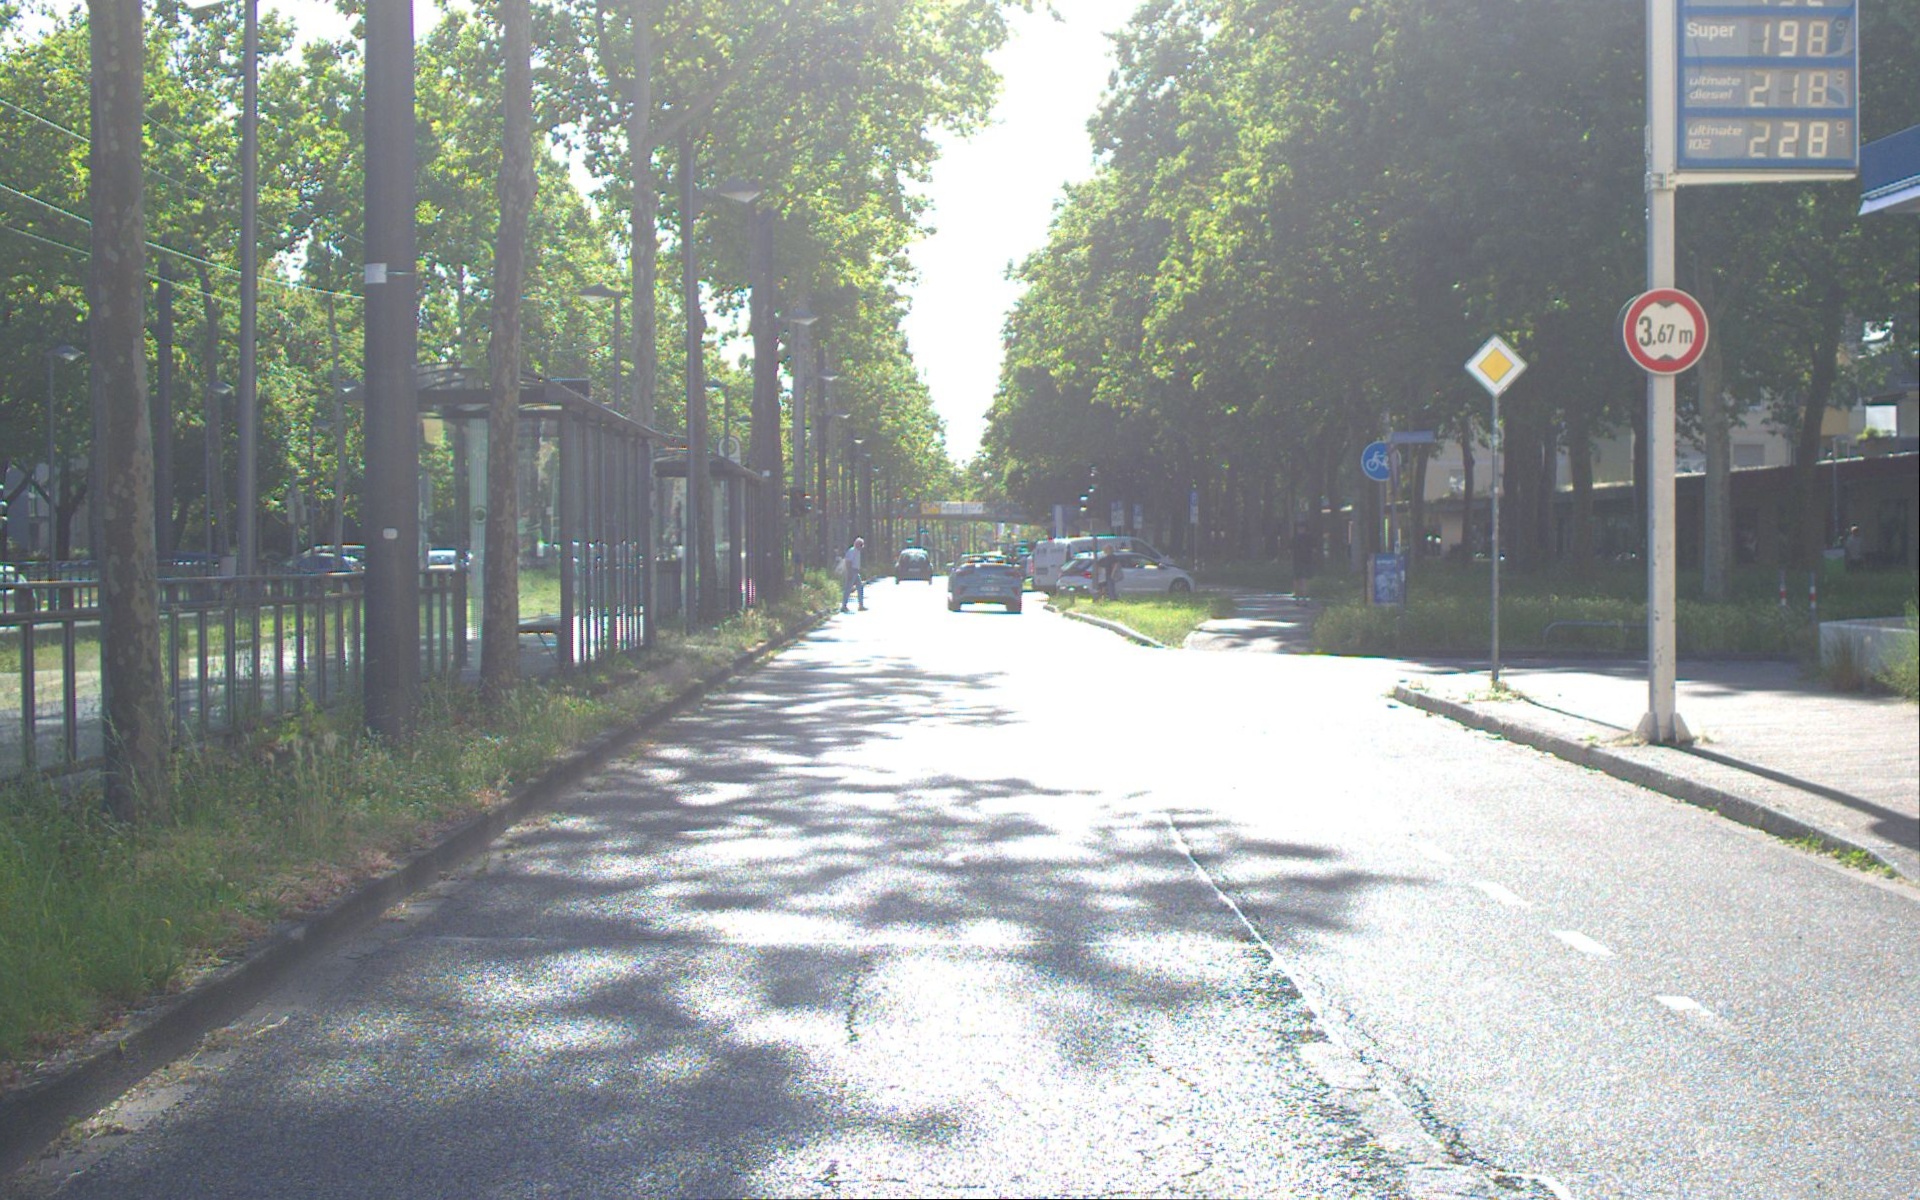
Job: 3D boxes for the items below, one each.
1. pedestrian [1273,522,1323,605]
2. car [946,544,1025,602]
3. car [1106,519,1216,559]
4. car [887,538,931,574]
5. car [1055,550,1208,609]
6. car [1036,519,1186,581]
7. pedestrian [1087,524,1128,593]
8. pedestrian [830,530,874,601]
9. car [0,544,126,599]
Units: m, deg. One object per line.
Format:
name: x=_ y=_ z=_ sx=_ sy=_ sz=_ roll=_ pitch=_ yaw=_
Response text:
pedestrian: x=7.639 y=-0.827 z=77.725 sx=0.925 sy=1.878 sz=0.800 roll=0 pitch=1 yaw=-14
car: x=0.637 y=-0.718 z=88.651 sx=1.922 sy=1.406 sz=4.000 roll=1 pitch=1 yaw=-1
car: x=7.534 y=-2.298 z=128.739 sx=4.174 sy=1.407 sz=1.719 roll=-2 pitch=1 yaw=-44
car: x=-2.228 y=-1.952 z=151.370 sx=1.849 sy=1.530 sz=3.866 roll=0 pitch=1 yaw=0
car: x=4.850 y=-0.579 z=97.222 sx=3.986 sy=1.464 sz=1.761 roll=-3 pitch=2 yaw=-31
car: x=4.747 y=-1.569 z=107.560 sx=4.657 sy=1.846 sz=1.830 roll=-2 pitch=1 yaw=-40
pedestrian: x=3.684 y=-1.034 z=85.805 sx=0.710 sy=1.700 sz=0.654 roll=-2 pitch=1 yaw=-35
pedestrian: x=-2.608 y=-0.838 z=82.963 sx=0.842 sy=1.716 sz=0.829 roll=0 pitch=1 yaw=15
car: x=-25.015 y=-0.790 z=94.268 sx=1.839 sy=1.430 sz=3.816 roll=1 pitch=2 yaw=40
